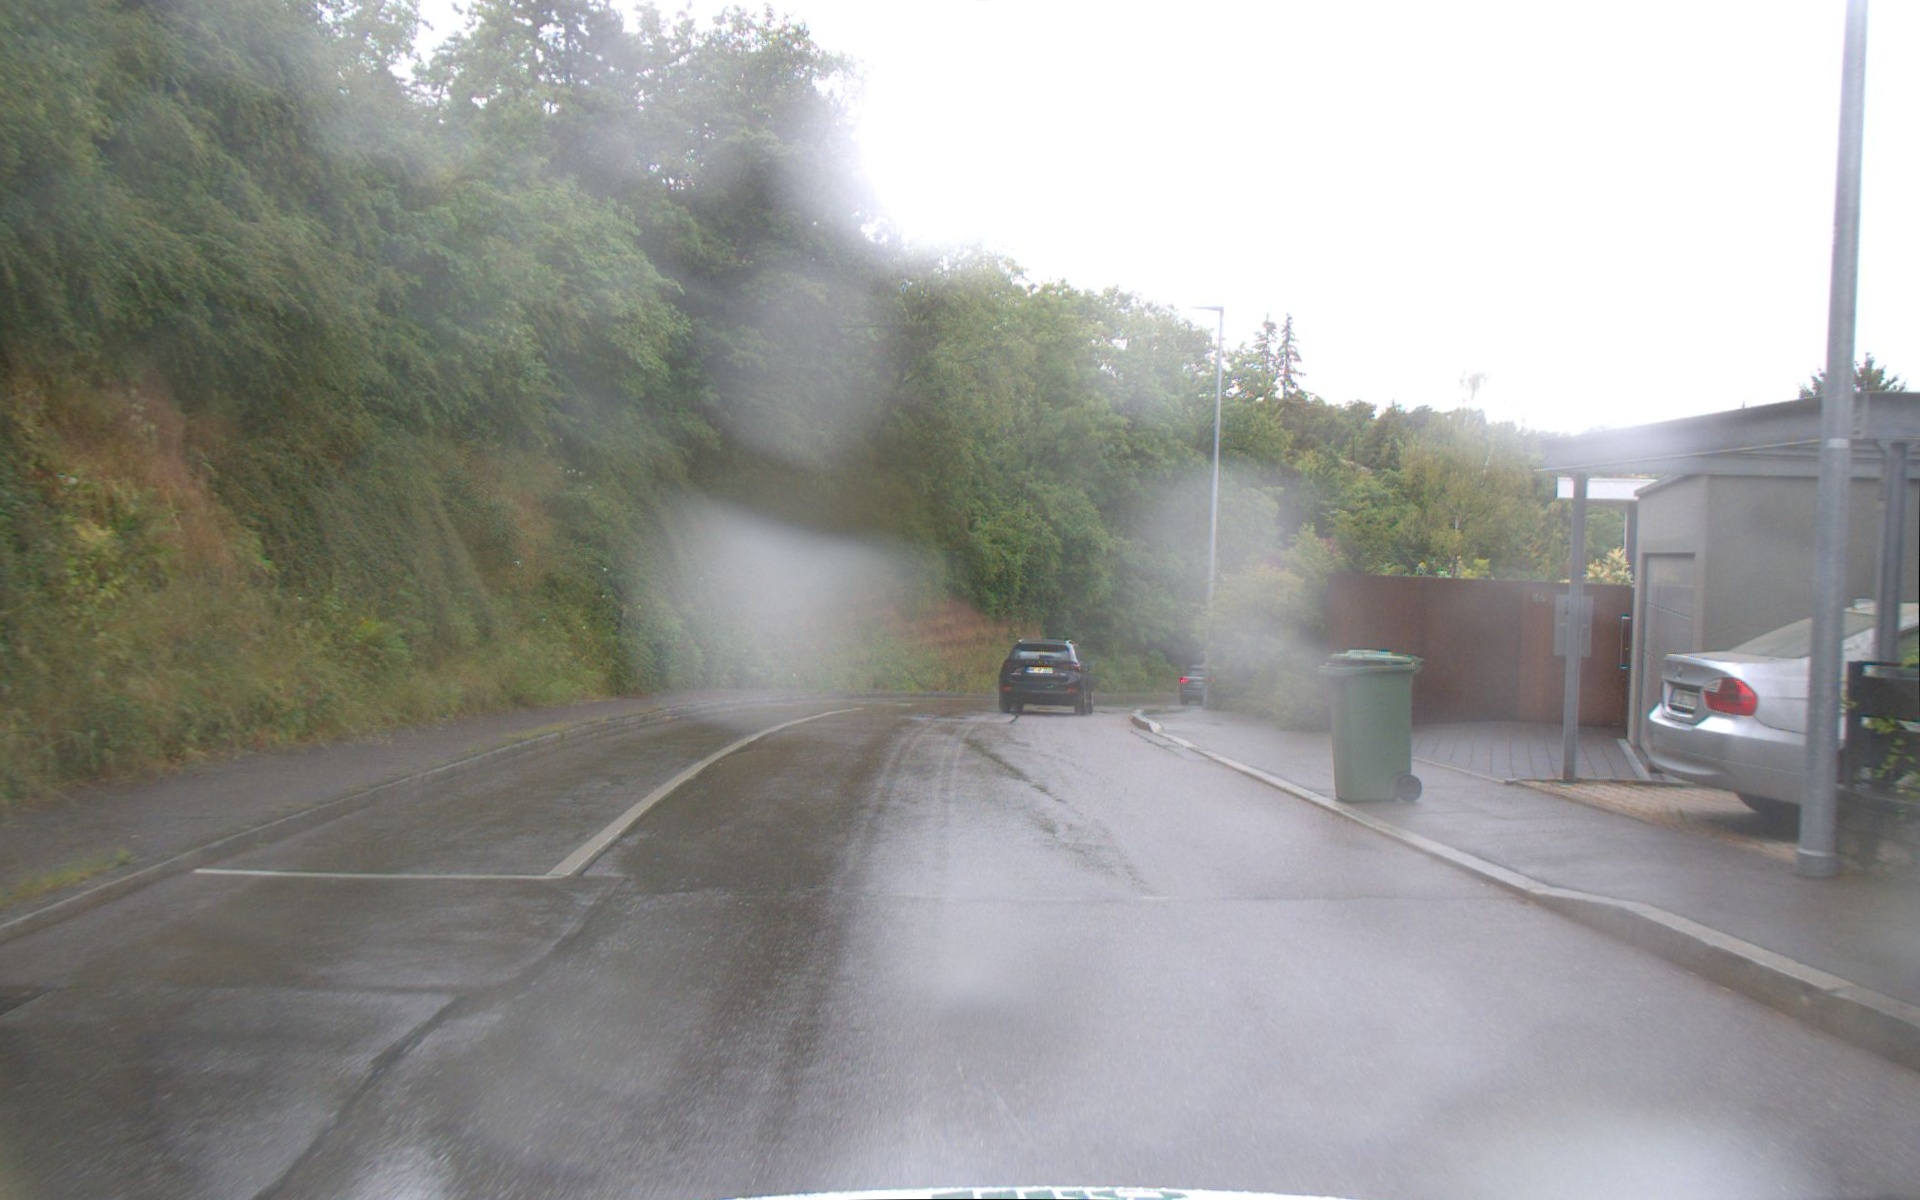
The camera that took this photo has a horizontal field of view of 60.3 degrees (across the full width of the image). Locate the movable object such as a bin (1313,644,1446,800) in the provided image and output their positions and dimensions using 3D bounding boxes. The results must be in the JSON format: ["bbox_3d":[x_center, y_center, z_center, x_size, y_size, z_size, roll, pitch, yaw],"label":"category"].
[{"bbox_3d":[3.195,0.917,12.646,0.774,1.115,0.675,-3,-1,-3],"label":"movable object such as a bin"}]

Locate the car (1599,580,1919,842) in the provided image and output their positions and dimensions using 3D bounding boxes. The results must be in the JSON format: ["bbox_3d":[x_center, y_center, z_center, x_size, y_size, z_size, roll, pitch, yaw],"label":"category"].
[{"bbox_3d":[6.379,0.699,10.256,4.127,1.440,1.942,2,-1,7],"label":"car"}]

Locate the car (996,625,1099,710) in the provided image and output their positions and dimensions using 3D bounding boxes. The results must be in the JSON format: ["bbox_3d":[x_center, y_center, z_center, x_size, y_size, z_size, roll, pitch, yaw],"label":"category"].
[{"bbox_3d":[1.843,1.383,33.693,1.829,1.539,4.094,2,-2,6],"label":"car"}]

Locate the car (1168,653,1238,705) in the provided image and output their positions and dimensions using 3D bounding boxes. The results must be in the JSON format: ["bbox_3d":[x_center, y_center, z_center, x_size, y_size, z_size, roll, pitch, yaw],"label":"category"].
[{"bbox_3d":[9.465,3.032,64.093,1.952,1.633,4.412,2,2,17],"label":"car"}]
